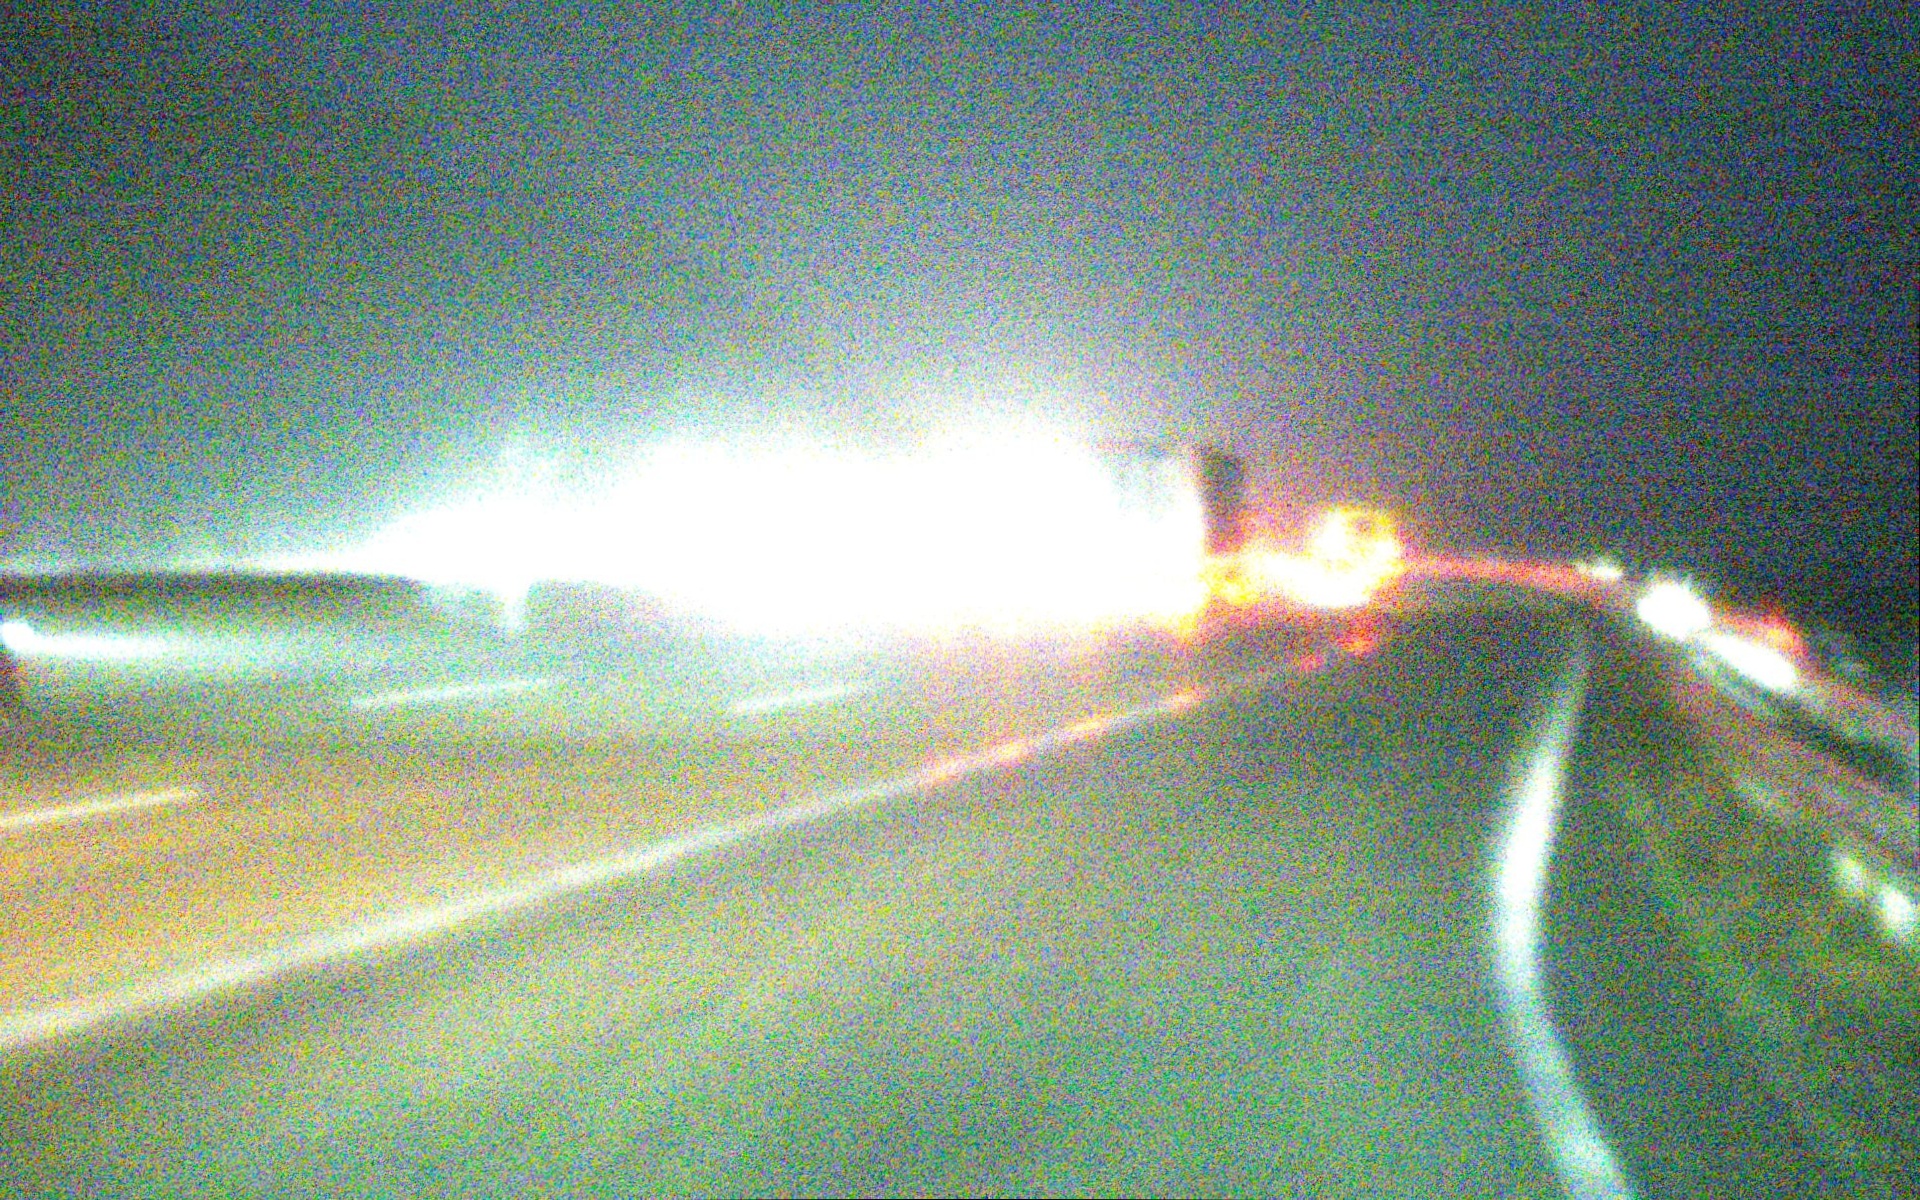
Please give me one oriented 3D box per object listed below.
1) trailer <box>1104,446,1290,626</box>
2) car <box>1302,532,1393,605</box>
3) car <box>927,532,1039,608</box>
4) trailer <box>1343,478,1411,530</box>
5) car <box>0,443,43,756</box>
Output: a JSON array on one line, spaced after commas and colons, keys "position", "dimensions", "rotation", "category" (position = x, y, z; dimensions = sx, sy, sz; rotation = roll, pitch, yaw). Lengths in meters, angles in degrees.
[{"position": [5.733, -1.443, 80.652], "dimensions": [2.593, 3.712, 13.646], "rotation": [4, 1, 10], "category": "trailer"}, {"position": [10.499, -0.860, 92.870], "dimensions": [1.995, 1.812, 3.998], "rotation": [4, 1, 12], "category": "car"}, {"position": [0.564, -0.709, 79.933], "dimensions": [1.994, 1.612, 3.999], "rotation": [4, 1, 8], "category": "car"}, {"position": [24.469, -5.601, 201.356], "dimensions": [2.689, 2.690, 12.851], "rotation": [4, 1, 12], "category": "trailer"}, {"position": [-7.394, -0.034, 20.343], "dimensions": [1.994, 2.006, 4.566], "rotation": [4, 1, 9], "category": "car"}]
